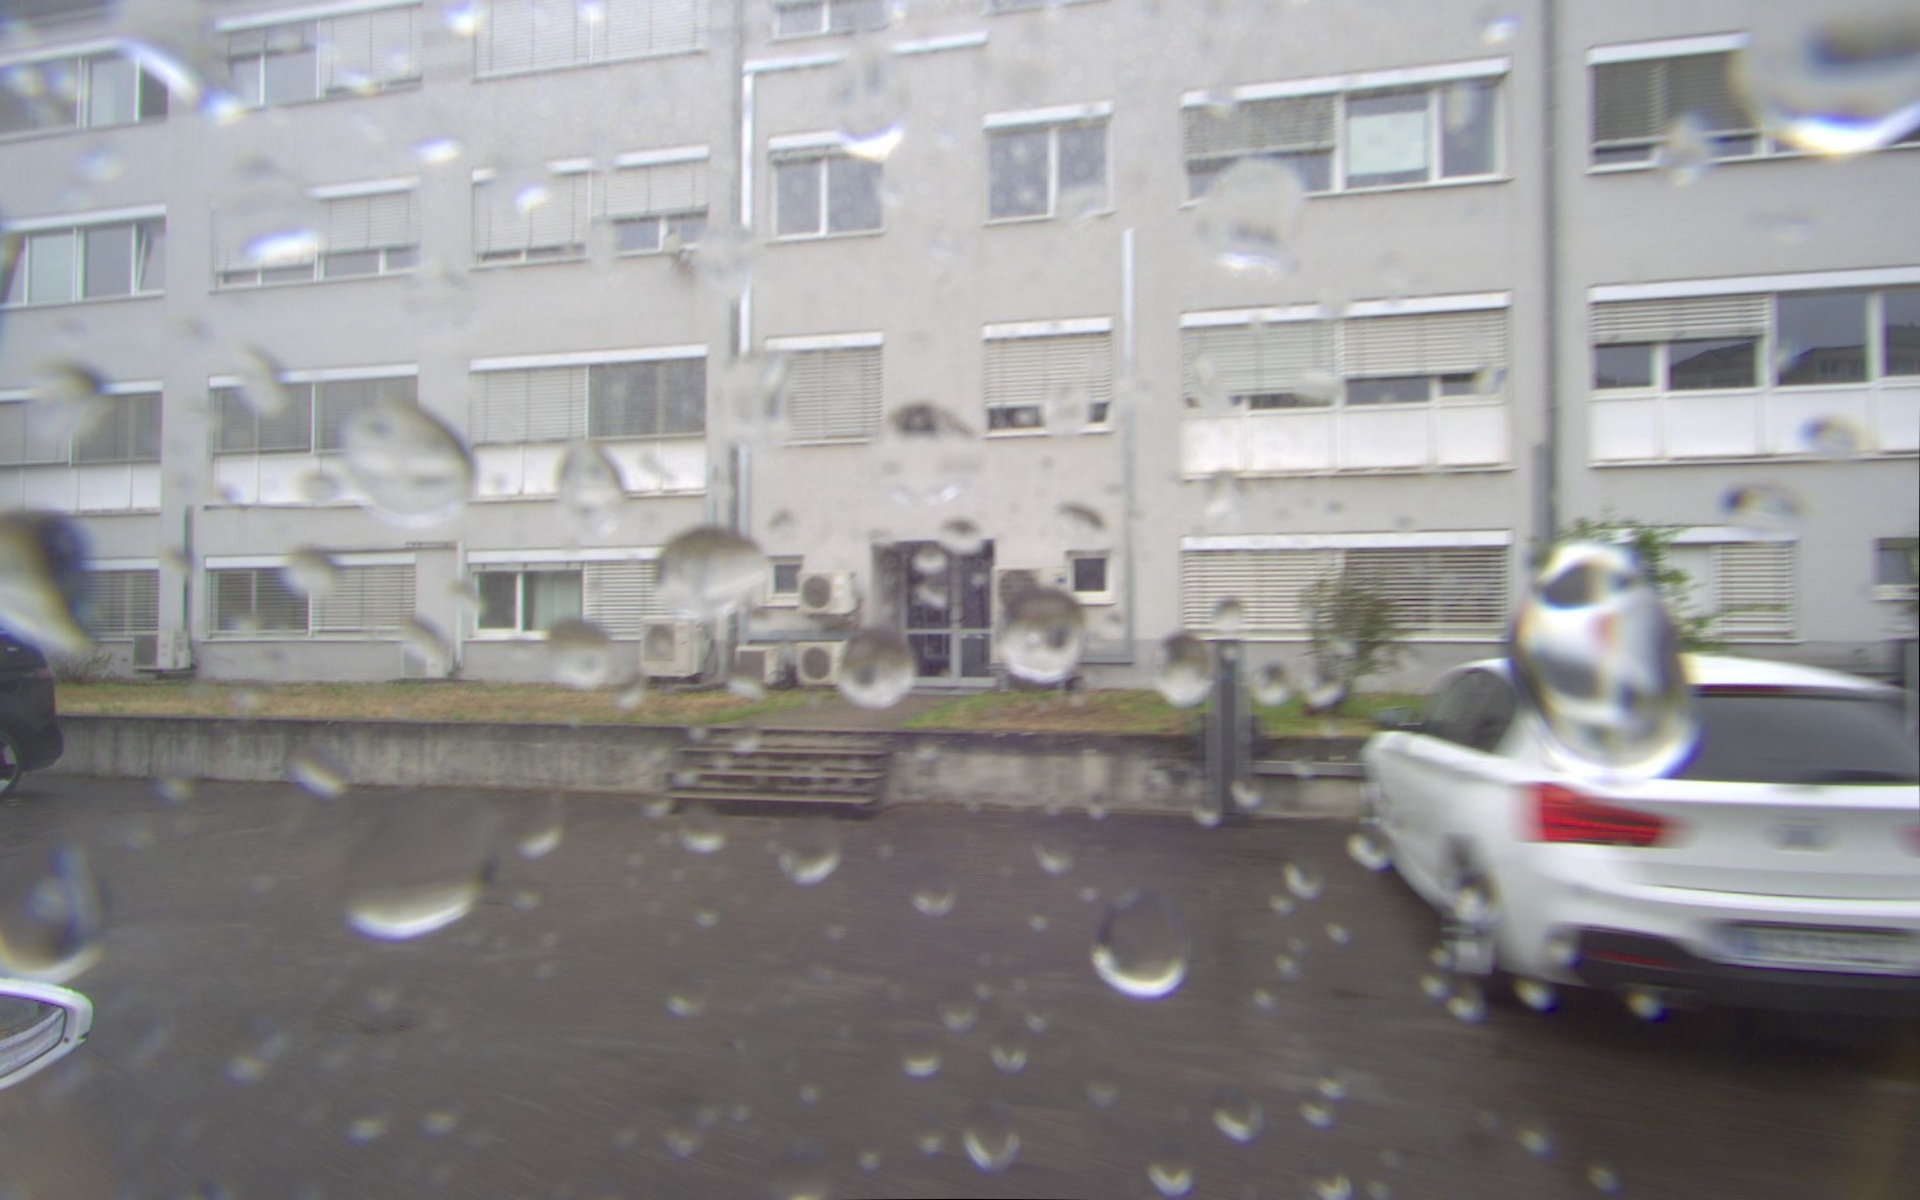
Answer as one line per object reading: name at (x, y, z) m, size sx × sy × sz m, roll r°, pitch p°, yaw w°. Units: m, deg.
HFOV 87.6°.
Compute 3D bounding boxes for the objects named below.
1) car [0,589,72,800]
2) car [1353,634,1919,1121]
car at (-10.042, 0.810, 7.703) m, size 2.008 × 1.921 × 4.523 m, roll -1°, pitch -2°, yaw 10°
car at (3.402, 0.976, 5.236) m, size 1.963 × 1.508 × 4.220 m, roll 1°, pitch -2°, yaw 14°
